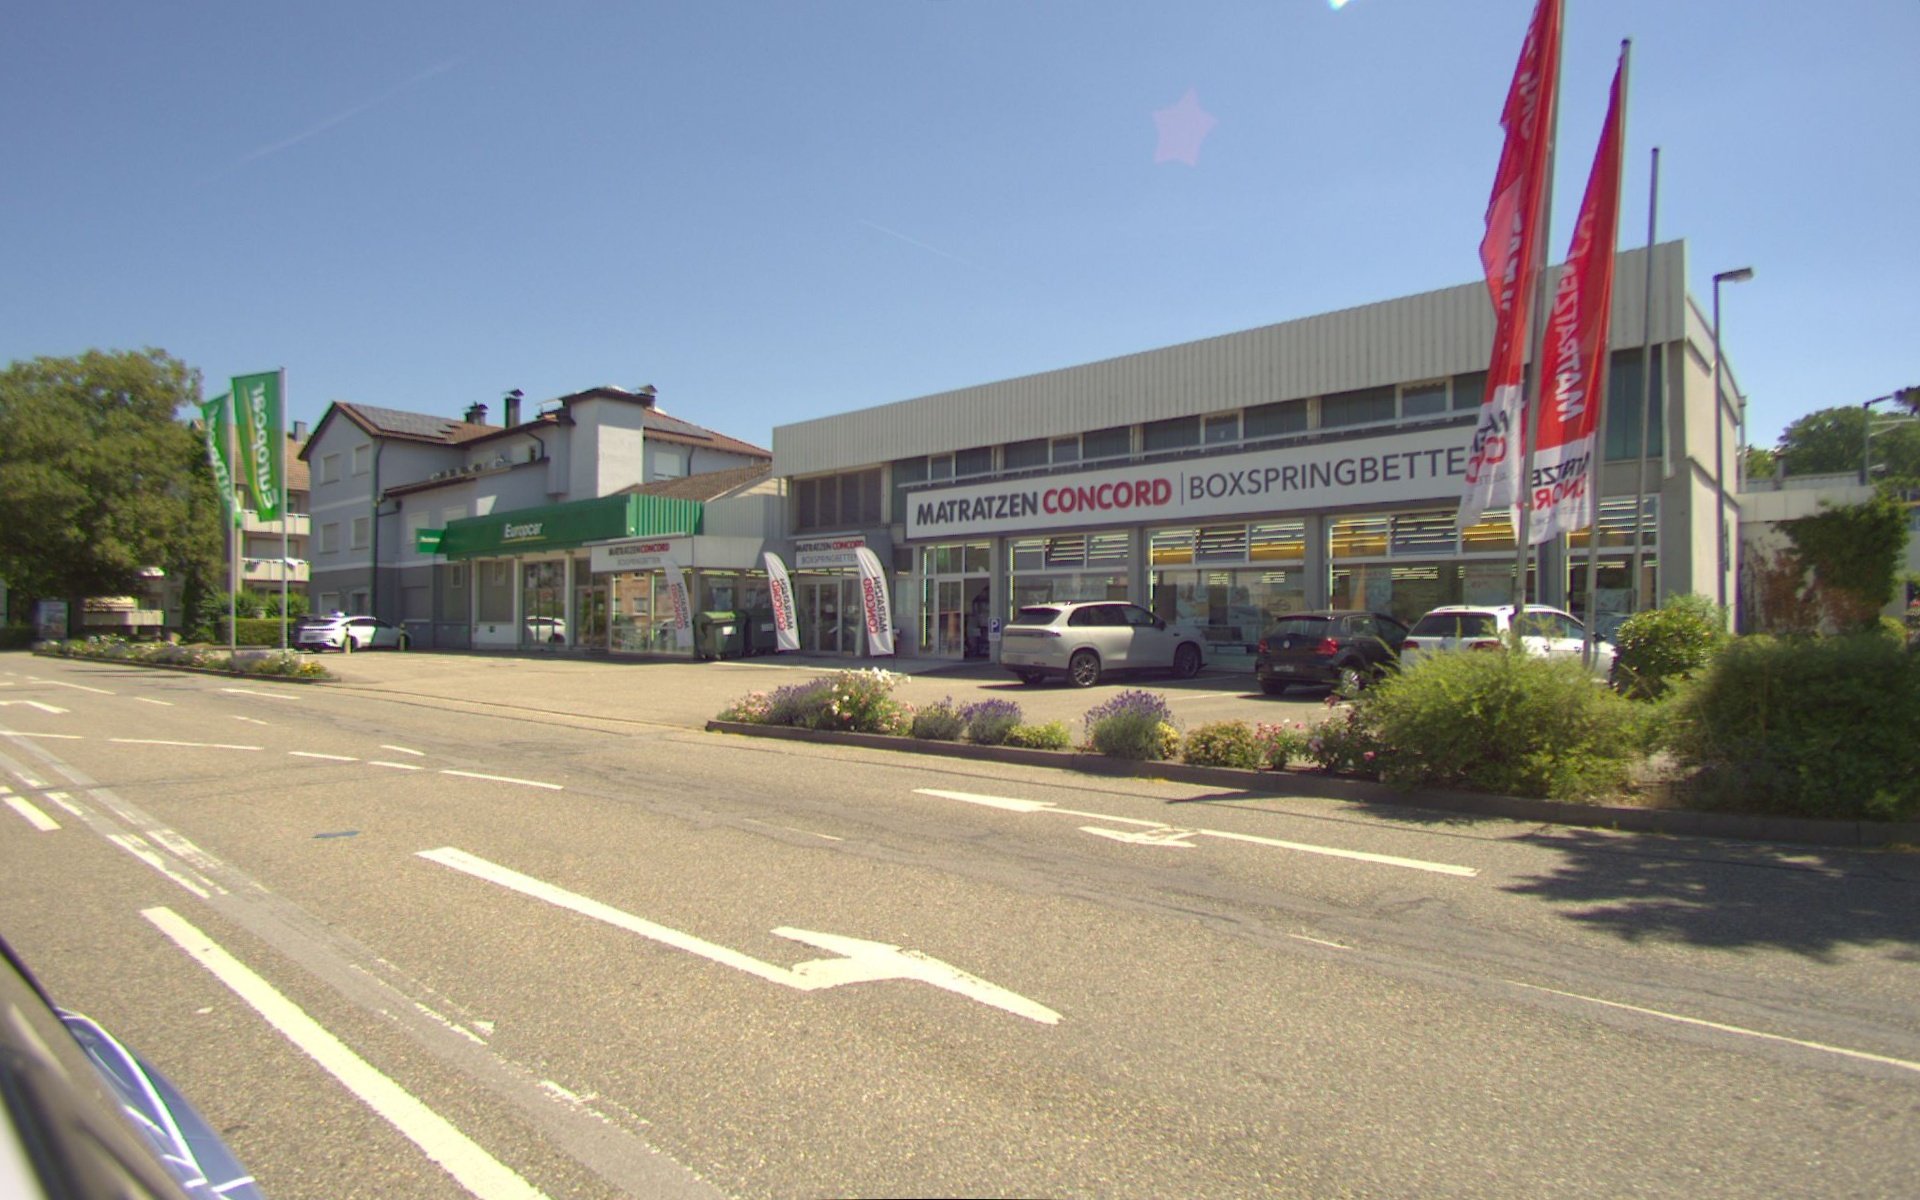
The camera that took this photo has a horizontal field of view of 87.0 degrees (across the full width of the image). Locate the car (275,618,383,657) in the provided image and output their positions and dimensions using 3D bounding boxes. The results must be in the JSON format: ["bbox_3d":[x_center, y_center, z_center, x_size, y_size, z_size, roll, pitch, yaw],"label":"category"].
[{"bbox_3d":[-27.319,1.606,43.877,1.967,1.577,3.526,-1,-1,38],"label":"car"}]

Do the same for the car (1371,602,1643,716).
[{"bbox_3d":[8.321,0.799,15.298,4.128,1.457,1.984,0,-1,-35],"label":"car"}]

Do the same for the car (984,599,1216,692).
[{"bbox_3d":[2.914,0.861,20.769,4.468,1.676,2.005,-1,-1,-33],"label":"car"}]

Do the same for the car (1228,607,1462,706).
[{"bbox_3d":[6.636,0.889,17.410,3.576,1.486,2.005,-1,-1,-33],"label":"car"}]

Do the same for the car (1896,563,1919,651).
[{"bbox_3d":[31.508,0.189,29.657,5.897,2.646,2.257,-1,1,41],"label":"car"}]

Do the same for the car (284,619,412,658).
[{"bbox_3d":[-24.664,1.507,40.995,1.922,1.450,4.332,-1,-1,16],"label":"car"}]
